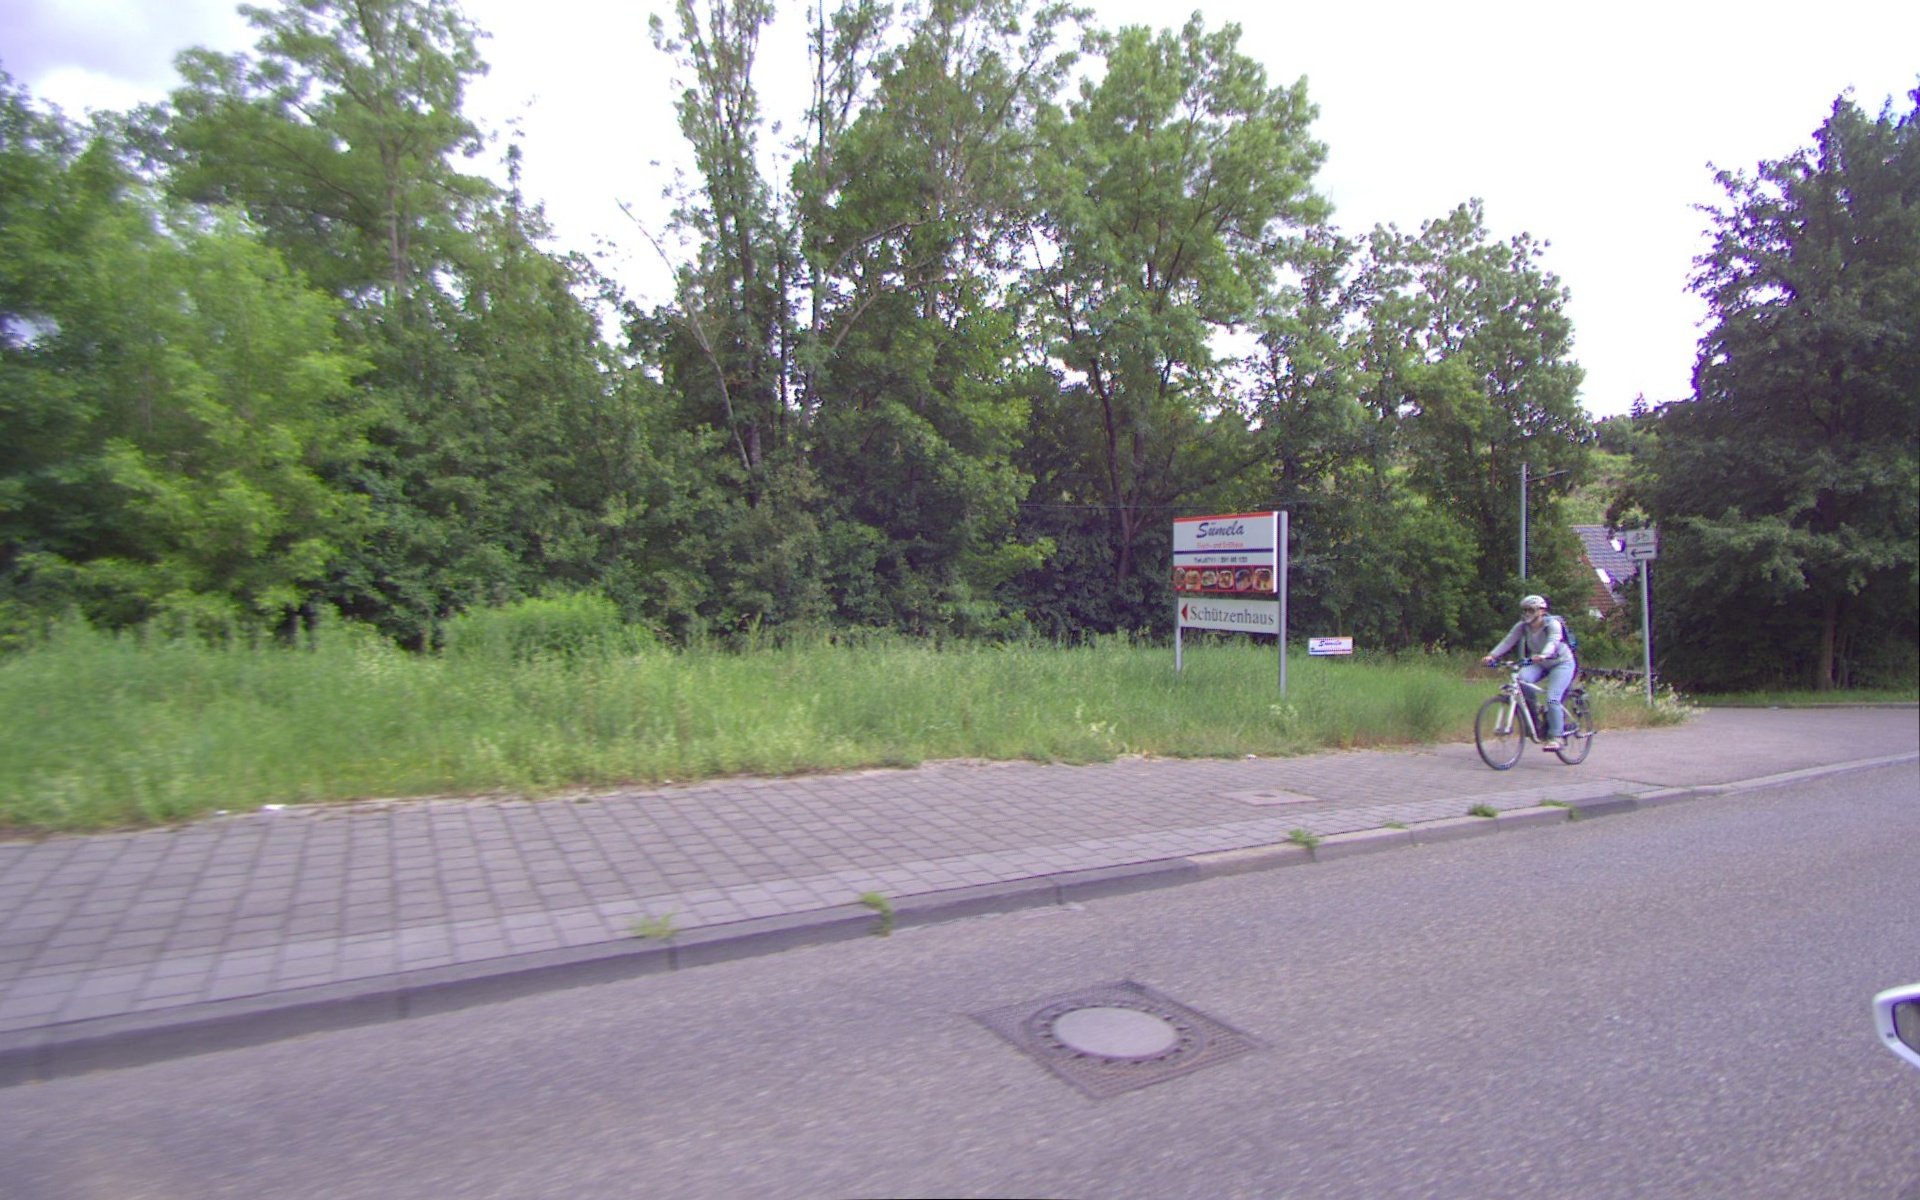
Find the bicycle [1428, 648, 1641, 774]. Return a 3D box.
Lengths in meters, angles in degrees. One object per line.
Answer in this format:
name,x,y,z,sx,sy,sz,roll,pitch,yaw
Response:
bicycle,5.718,1.035,9.932,2.418,1.050,0.823,2,2,-35

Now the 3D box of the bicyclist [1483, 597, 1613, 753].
bicyclist,5.830,0.712,9.972,0.773,1.446,0.821,2,1,-33
